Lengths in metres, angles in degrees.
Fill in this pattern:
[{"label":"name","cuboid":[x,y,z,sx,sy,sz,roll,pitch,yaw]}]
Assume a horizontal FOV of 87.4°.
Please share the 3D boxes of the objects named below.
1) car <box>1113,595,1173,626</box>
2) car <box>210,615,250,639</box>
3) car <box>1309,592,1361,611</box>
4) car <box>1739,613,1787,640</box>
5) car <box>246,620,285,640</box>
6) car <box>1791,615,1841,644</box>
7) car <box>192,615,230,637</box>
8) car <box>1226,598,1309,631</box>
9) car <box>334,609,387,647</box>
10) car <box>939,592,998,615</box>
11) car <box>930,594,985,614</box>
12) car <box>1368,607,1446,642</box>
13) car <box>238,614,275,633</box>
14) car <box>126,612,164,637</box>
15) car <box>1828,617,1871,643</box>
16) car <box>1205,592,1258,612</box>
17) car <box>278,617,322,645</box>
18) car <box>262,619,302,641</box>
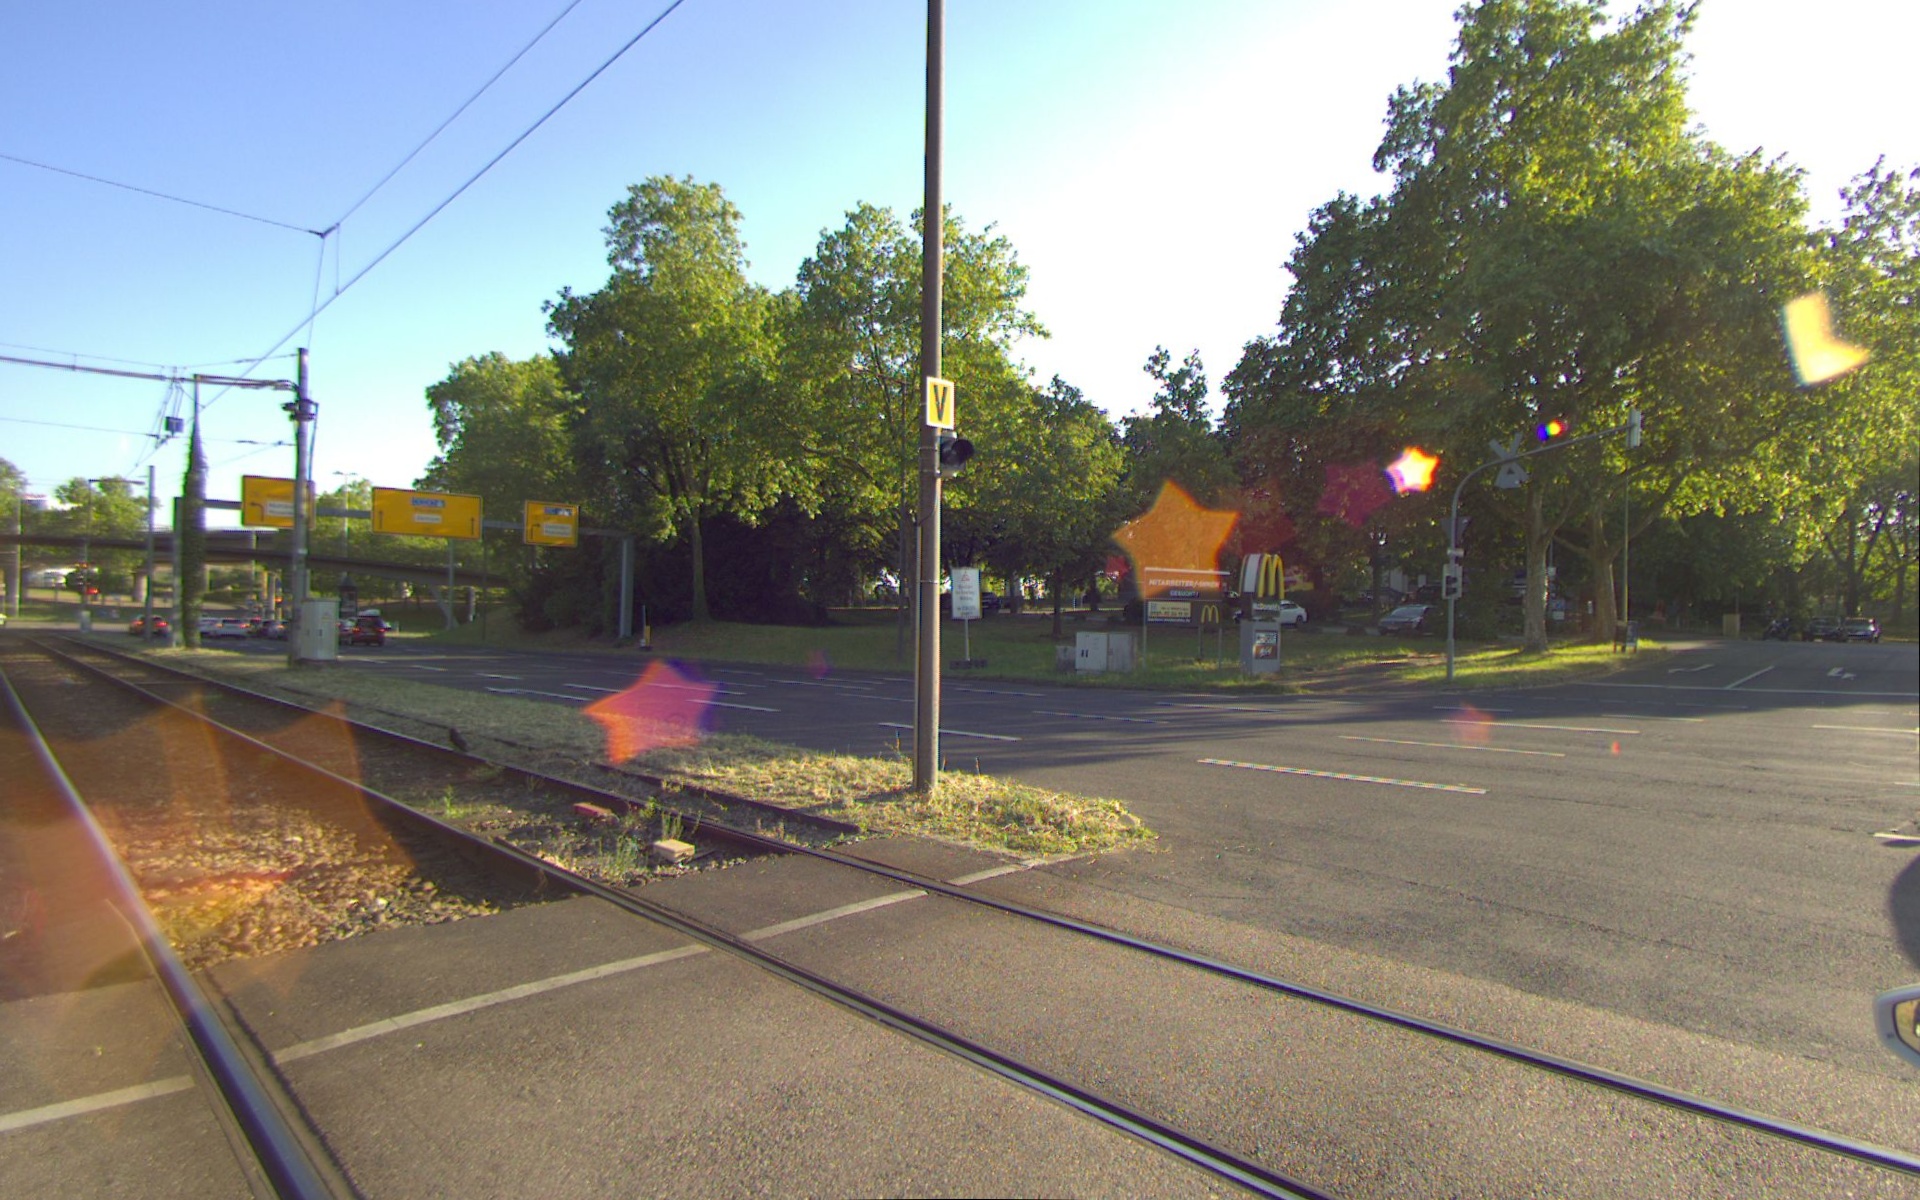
[{"label":"car","cuboid":[10.819,0.620,59.112,1.799,1.710,4.209,0,-1,37]},{"label":"car","cuboid":[-49.980,1.827,68.732,1.657,1.586,4.135,0,0,-44]},{"label":"car","cuboid":[31.627,0.126,84.730,3.926,1.572,1.806,0,0,27]},{"label":"car","cuboid":[49.458,1.622,61.829,3.972,1.573,1.828,0,0,-44]},{"label":"car","cuboid":[-53.474,2.316,77.310,1.786,1.401,4.417,0,0,-44]},{"label":"car","cuboid":[49.710,1.674,58.291,3.972,1.573,1.828,0,0,-44]},{"label":"car","cuboid":[-54.863,1.908,73.525,1.735,1.451,4.356,4,-3,-42]},{"label":"car","cuboid":[16.434,0.751,53.568,4.859,1.729,1.977,0,0,-40]},{"label":"car","cuboid":[-34.996,1.594,58.610,1.786,2.133,3.947,0,0,-45]},{"label":"car","cuboid":[0.605,0.243,70.381,3.966,1.572,1.787,1,-1,-40]},{"label":"car","cuboid":[-0.199,0.322,77.453,3.953,1.572,1.793,0,0,-30]},{"label":"car","cuboid":[21.435,1.159,48.080,4.373,1.595,2.016,1,-1,-45]},{"label":"car","cuboid":[-56.745,1.882,80.994,1.786,1.461,3.947,0,0,-44]},{"label":"car","cuboid":[-55.164,1.639,67.963,1.657,1.586,3.947,0,0,-44]},{"label":"car","cuboid":[58.493,1.932,66.029,3.972,1.573,1.828,0,0,-44]},{"label":"car","cuboid":[22.313,0.156,82.703,3.927,1.572,1.805,0,0,28]},{"label":"car","cuboid":[-44.157,2.056,67.185,1.786,1.773,3.947,0,0,-44]},{"label":"car","cuboid":[-49.171,2.166,72.828,1.786,1.501,3.947,0,0,-44]}]
